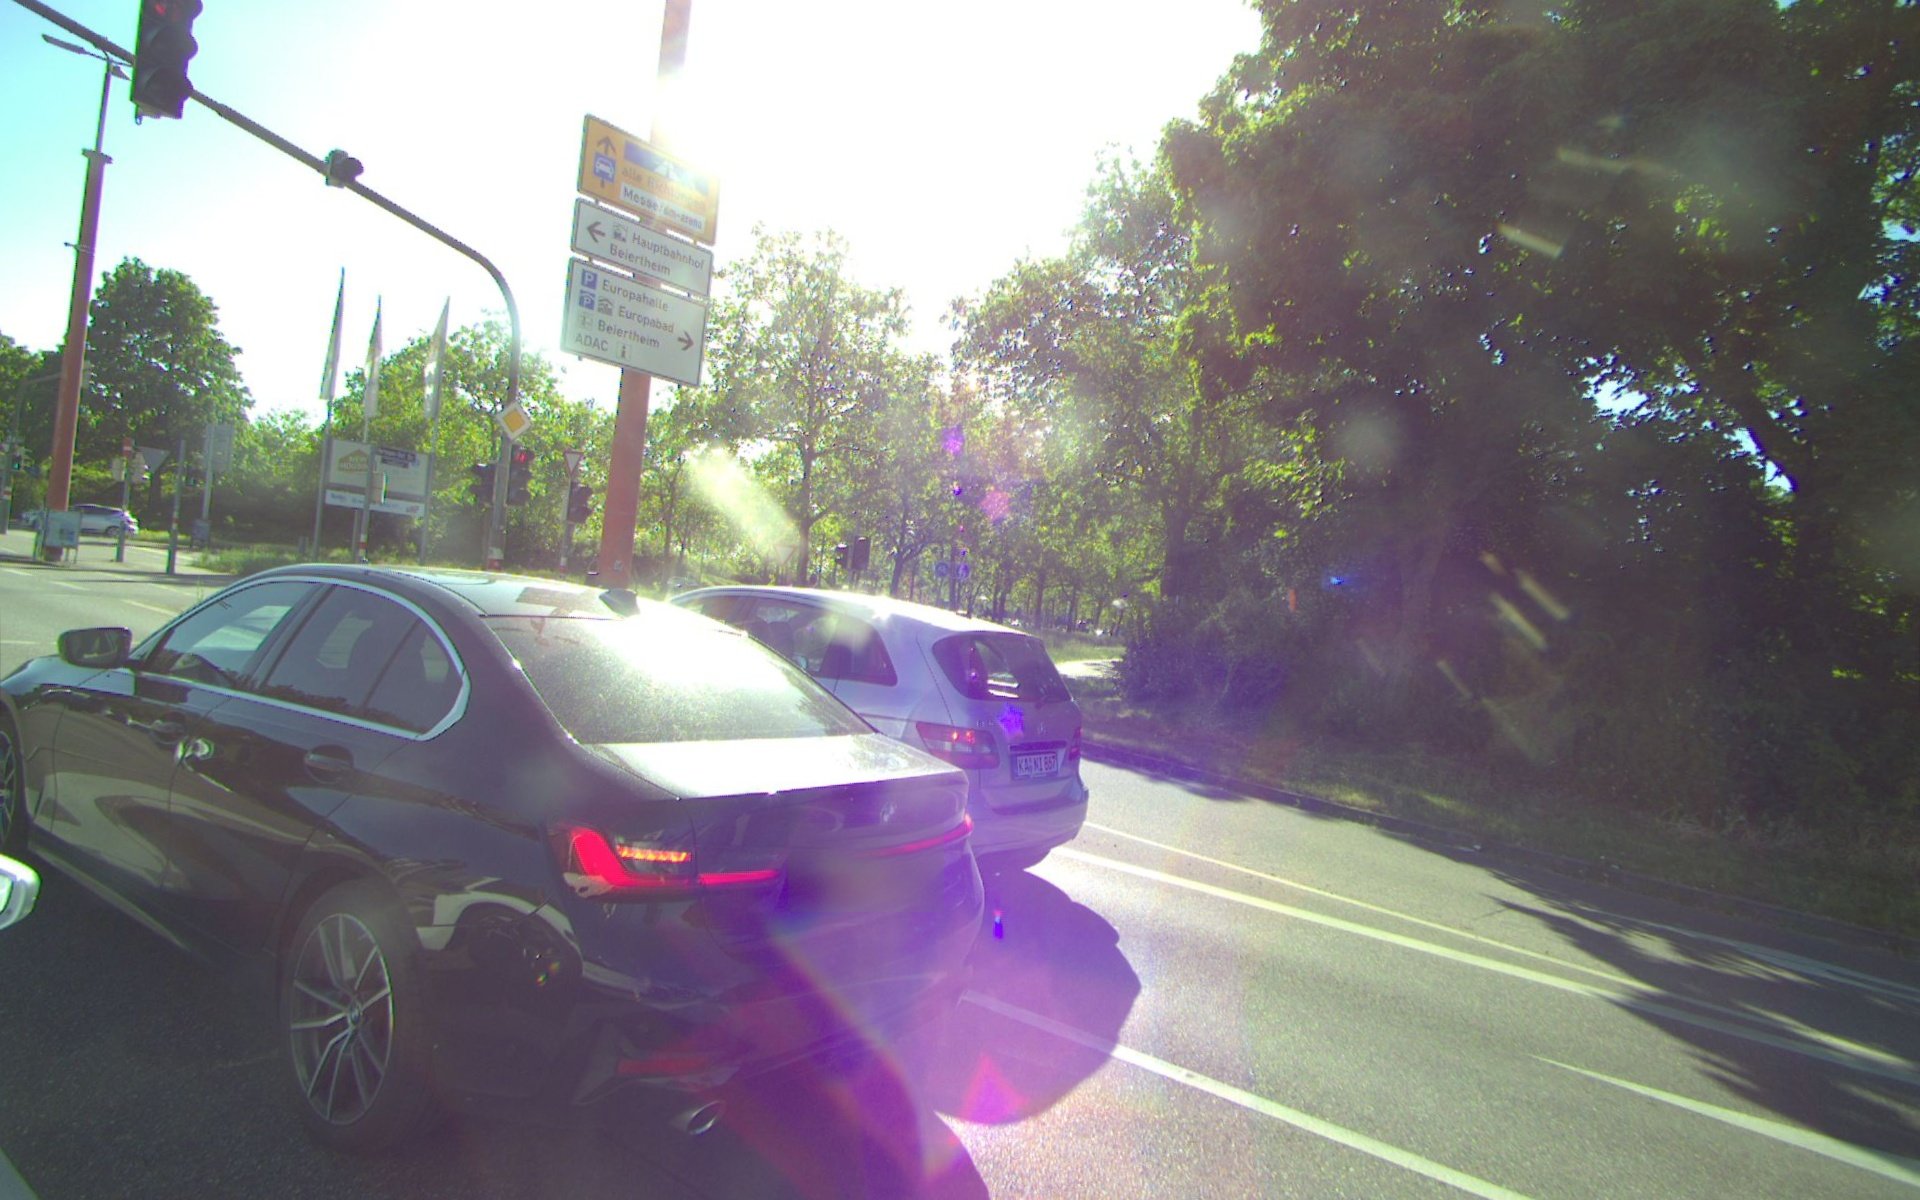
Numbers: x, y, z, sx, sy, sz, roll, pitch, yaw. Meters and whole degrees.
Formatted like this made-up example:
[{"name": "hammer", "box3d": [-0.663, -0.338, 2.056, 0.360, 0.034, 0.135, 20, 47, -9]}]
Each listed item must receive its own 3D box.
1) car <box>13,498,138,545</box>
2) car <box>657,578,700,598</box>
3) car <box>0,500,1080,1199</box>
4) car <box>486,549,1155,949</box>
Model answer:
[{"name": "car", "box3d": [-40.014, -3.542, 45.643, 3.957, 1.485, 1.669, 8, -1, -34]}, {"name": "car", "box3d": [-22.339, -0.968, 79.946, 1.590, 1.221, 3.452, 7, -1, 17]}, {"name": "car", "box3d": [-1.982, 0.547, 3.846, 4.372, 1.415, 1.871, 7, 0, 34]}, {"name": "car", "box3d": [-1.012, 0.708, 6.479, 3.963, 1.597, 1.741, 7, 0, 33]}]
